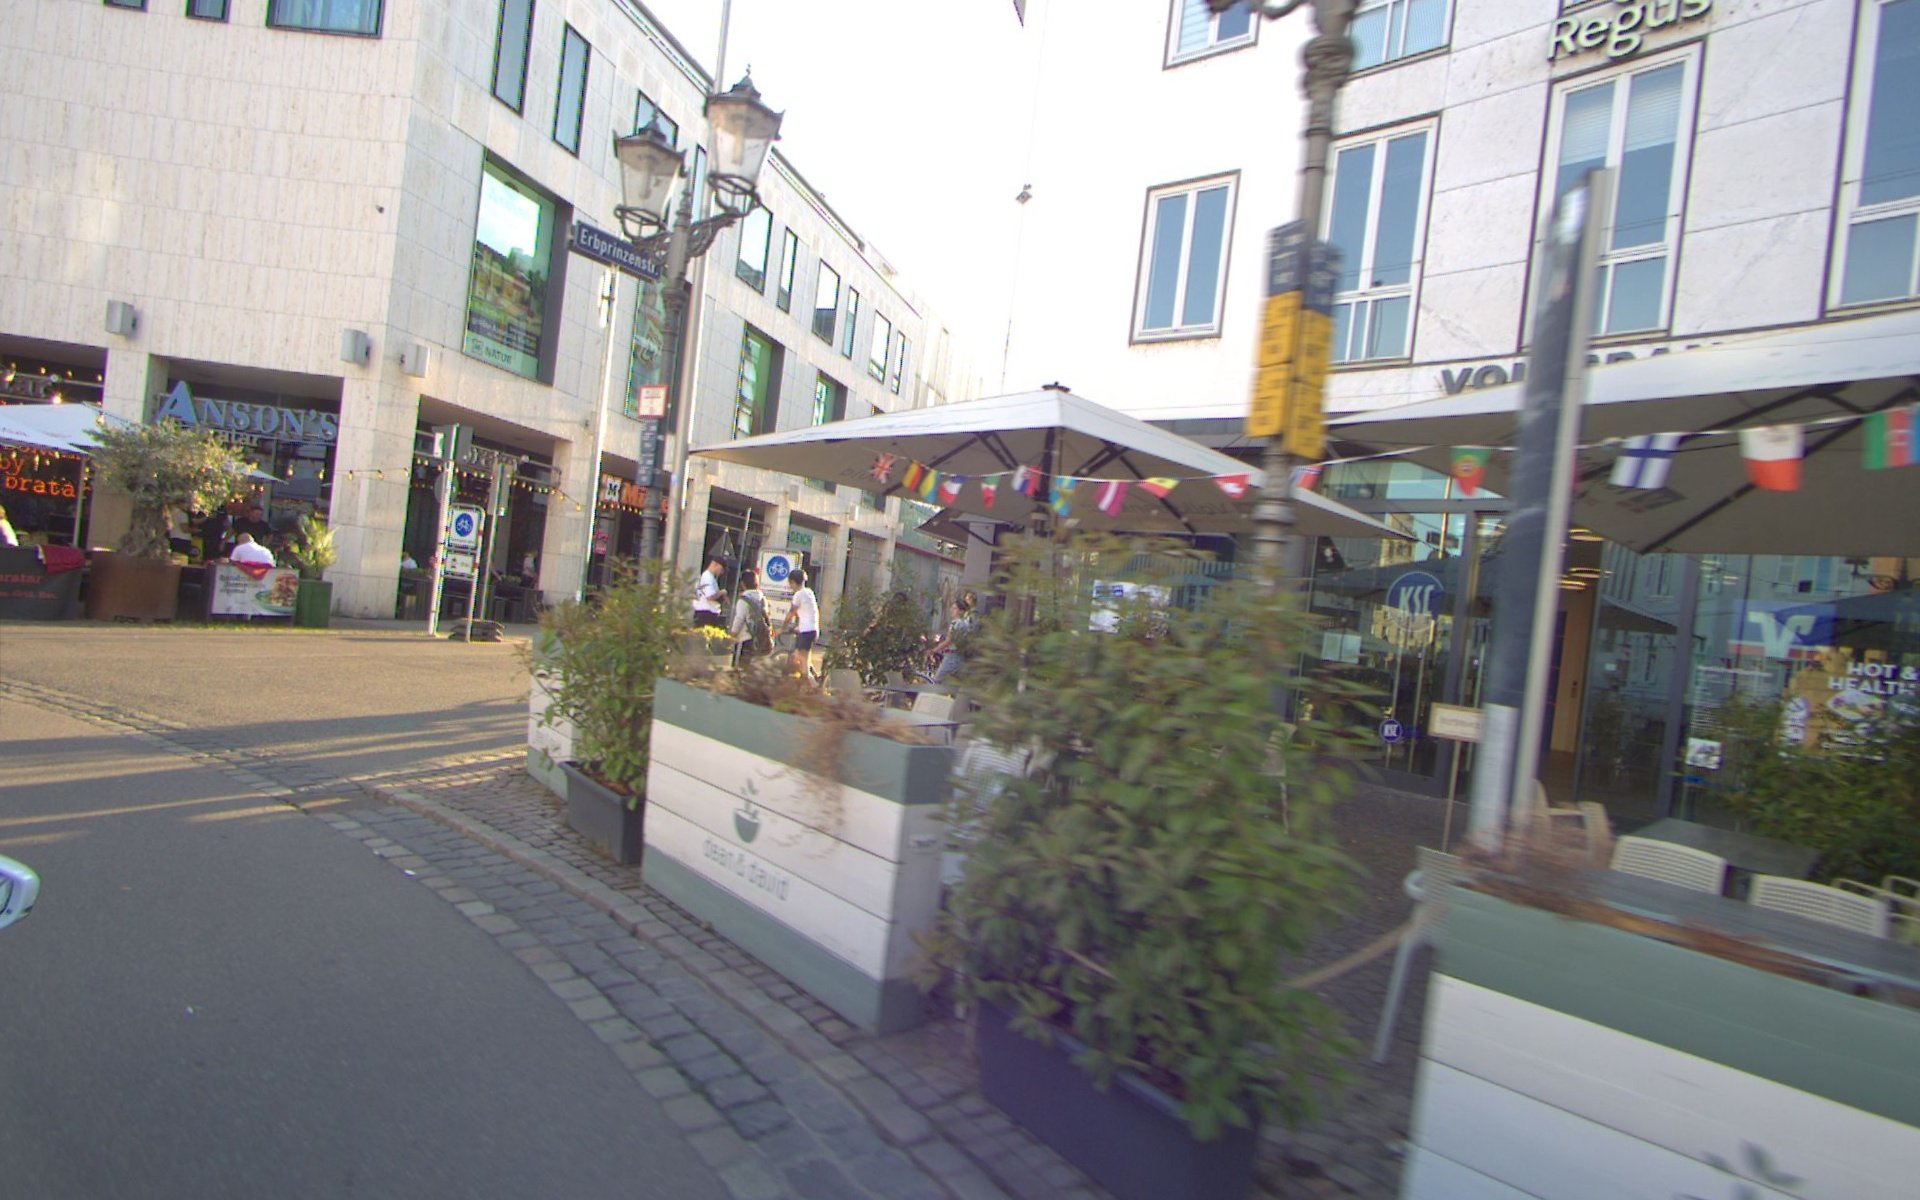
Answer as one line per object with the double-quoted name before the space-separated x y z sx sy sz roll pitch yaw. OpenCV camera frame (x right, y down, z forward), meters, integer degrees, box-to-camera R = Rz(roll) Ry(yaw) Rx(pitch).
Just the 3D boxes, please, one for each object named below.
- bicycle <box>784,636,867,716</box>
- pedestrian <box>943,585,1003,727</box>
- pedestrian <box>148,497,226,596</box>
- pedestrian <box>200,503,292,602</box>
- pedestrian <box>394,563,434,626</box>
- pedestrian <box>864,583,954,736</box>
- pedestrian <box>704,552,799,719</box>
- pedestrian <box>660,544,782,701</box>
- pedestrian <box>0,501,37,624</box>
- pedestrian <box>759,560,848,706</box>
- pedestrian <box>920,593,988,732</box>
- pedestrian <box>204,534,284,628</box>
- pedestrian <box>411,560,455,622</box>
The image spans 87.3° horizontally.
"bicycle" -1.929 1.073 14.315 1.359 0.955 0.324 7 0 45
"pedestrian" 0.182 0.773 13.934 0.552 1.877 0.460 7 1 10
"pedestrian" -13.993 -0.958 18.226 0.679 1.668 0.696 7 1 6
"pedestrian" -13.233 -0.861 18.672 0.851 1.668 0.932 7 0 7
"pedestrian" -10.433 -0.115 19.217 0.546 1.124 0.532 6 0 -32
"pedestrian" -0.640 0.713 12.396 0.803 1.752 0.757 7 0 -13
"pedestrian" -2.492 0.413 11.984 0.780 1.865 0.667 7 0 -25
"pedestrian" -3.239 0.309 13.630 0.996 1.956 1.022 7 0 41
"pedestrian" -12.038 -0.488 12.490 0.552 1.497 0.530 7 1 15
"pedestrian" -2.198 0.461 14.105 0.681 1.920 0.863 6 1 -40
"pedestrian" -0.072 0.806 13.078 0.592 1.711 0.501 7 1 12
"pedestrian" -10.848 -0.281 15.246 0.710 1.326 0.549 7 1 14
"pedestrian" -10.476 -0.178 20.005 0.462 1.170 0.498 7 0 4
